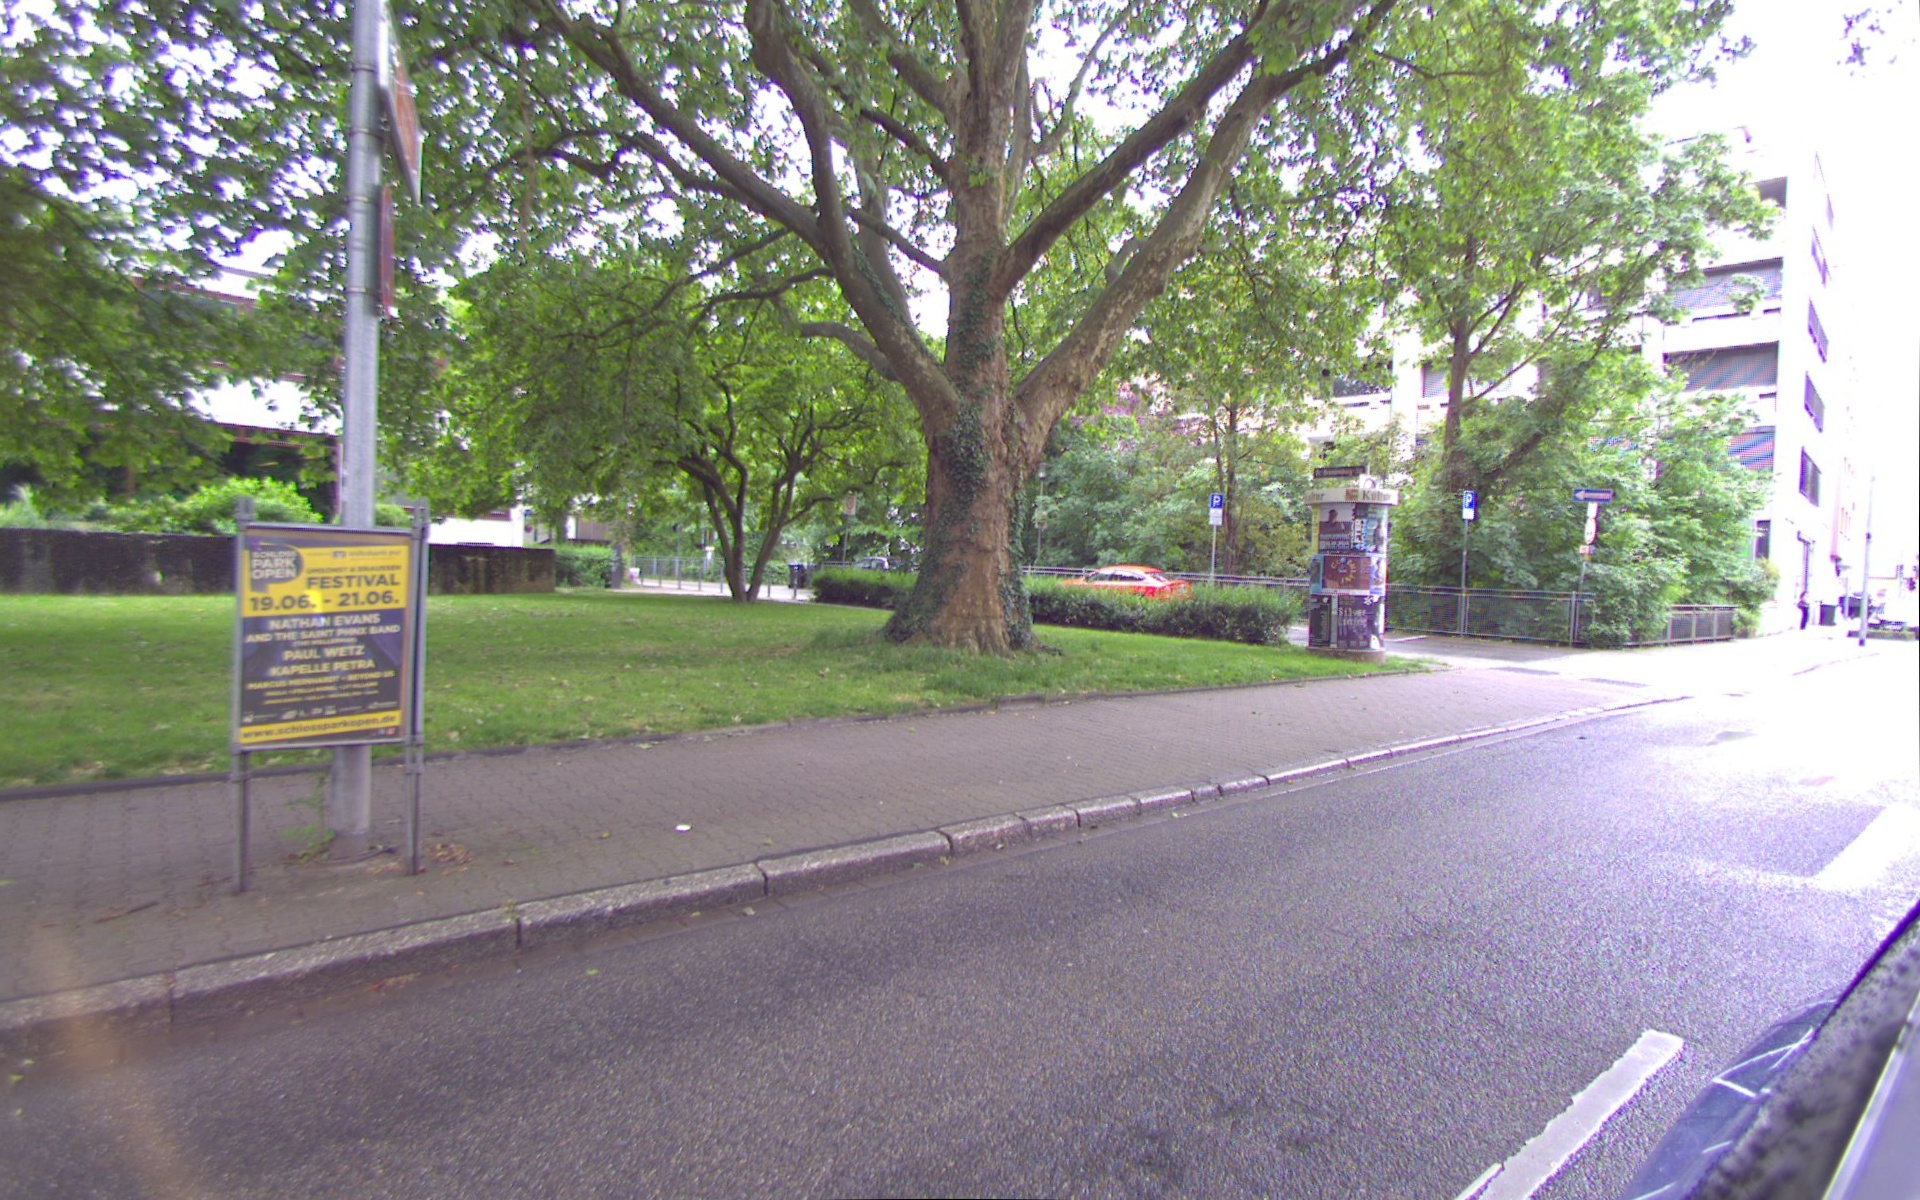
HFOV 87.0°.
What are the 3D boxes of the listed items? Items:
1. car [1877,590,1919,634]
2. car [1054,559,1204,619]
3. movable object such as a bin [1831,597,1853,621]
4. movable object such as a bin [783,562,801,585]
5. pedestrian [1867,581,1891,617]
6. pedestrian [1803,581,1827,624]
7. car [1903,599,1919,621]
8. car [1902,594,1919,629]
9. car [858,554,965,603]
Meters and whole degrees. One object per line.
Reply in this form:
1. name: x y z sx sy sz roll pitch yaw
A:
1. car: 37.492 0.471 39.798 3.741 1.577 1.705 0 4 -43
2. car: 4.911 -0.383 29.742 3.989 1.499 1.847 5 5 44
3. movable object such as a bin: 42.143 0.424 48.359 0.505 1.117 0.680 0 2 -42
4. movable object such as a bin: -7.178 -1.125 43.160 0.573 0.986 0.512 0 0 -41
5. pedestrian: 56.551 -0.076 62.283 0.797 2.179 0.732 2 1 26
6. pedestrian: 34.718 0.114 41.100 0.598 1.679 0.681 7 4 42
7. car: 65.760 0.758 67.198 1.449 1.402 4.463 0 2 -39
8. car: 42.625 0.519 44.166 4.493 1.437 1.834 0 3 -43
9. car: -1.818 -0.818 37.089 1.707 1.590 3.925 0 3 -45
